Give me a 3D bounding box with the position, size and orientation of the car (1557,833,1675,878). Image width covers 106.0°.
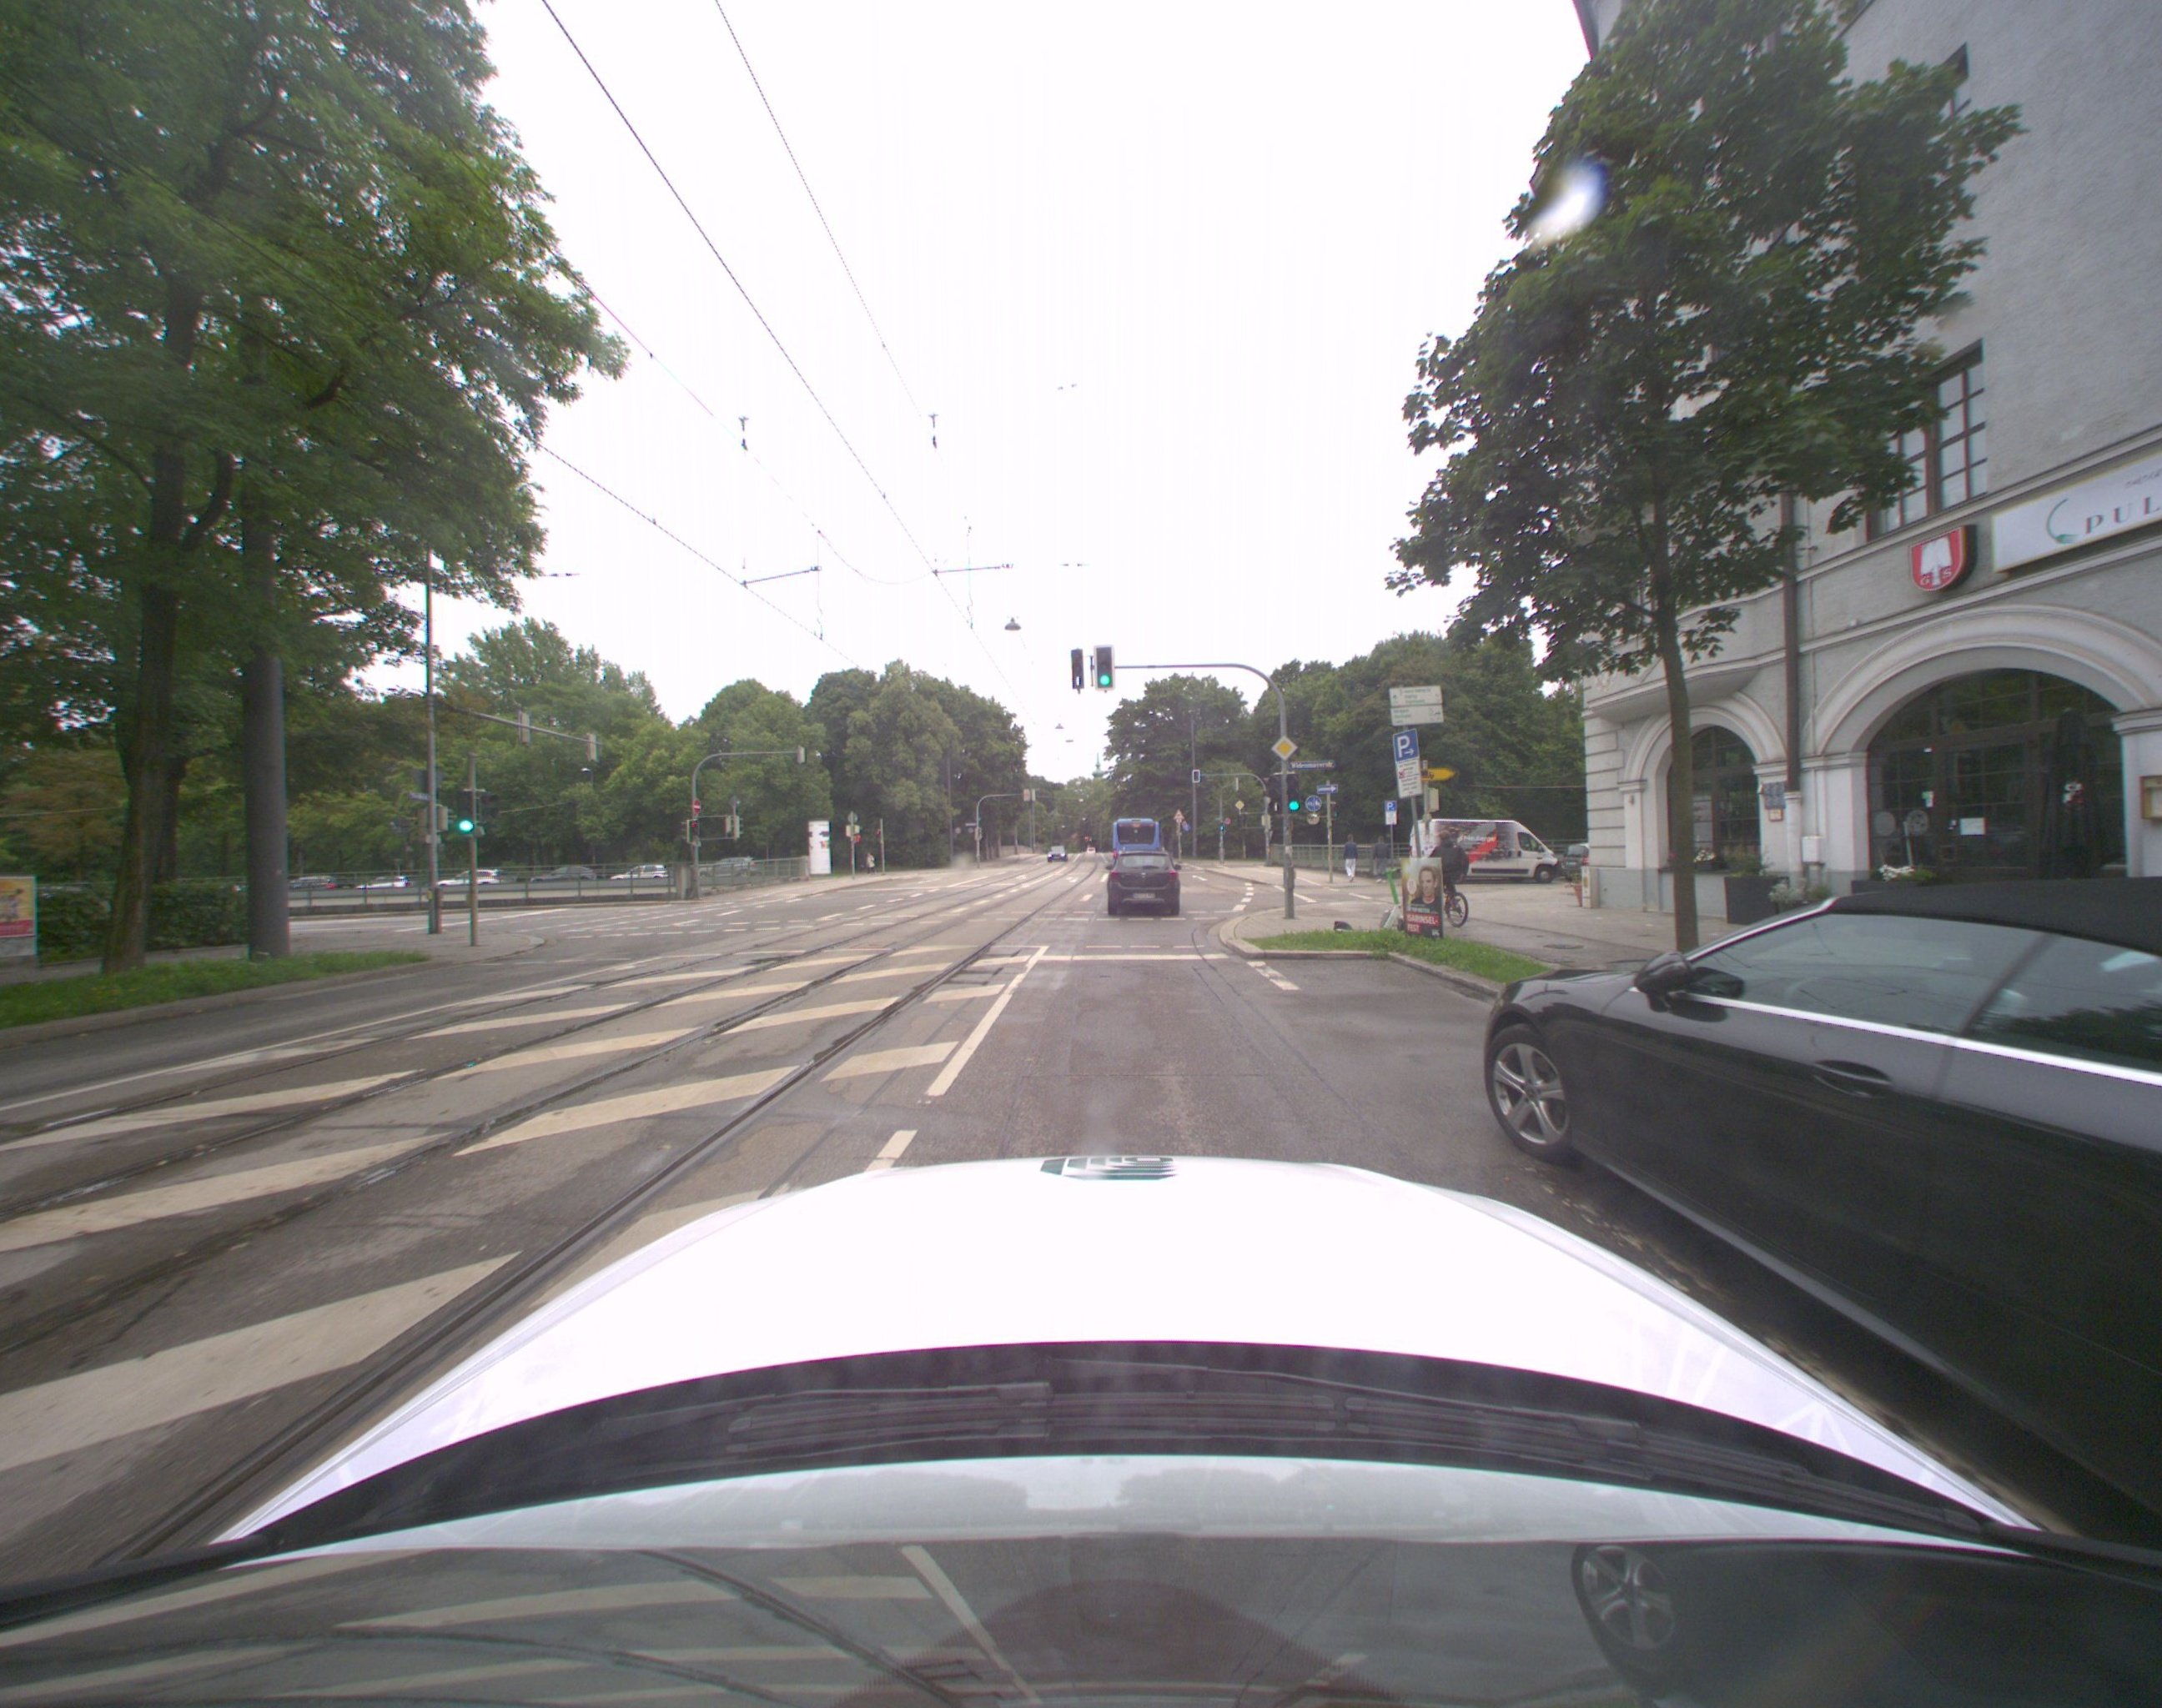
[{"bbox_3d":[20.742,0.072,31.681,3.426,1.682,1.841,0,0,0],"label":"car"}]

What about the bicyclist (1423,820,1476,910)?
[{"bbox_3d":[7.231,0.220,16.026,0.722,1.729,0.726,0,-1,1],"label":"bicyclist"}]

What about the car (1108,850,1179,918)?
[{"bbox_3d":[1.491,0.704,20.415,1.595,1.556,3.526,0,0,1],"label":"car"}]

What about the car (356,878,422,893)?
[{"bbox_3d":[-44.970,2.033,52.946,3.103,0.972,1.249,0,0,-4],"label":"car"}]

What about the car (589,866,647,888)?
[{"bbox_3d":[-30.504,1.510,53.701,3.103,1.452,1.249,0,0,-4],"label":"car"}]

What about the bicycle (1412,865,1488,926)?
[{"bbox_3d":[7.236,0.777,16.076,0.577,1.078,1.912,-4,0,1],"label":"bicycle"}]

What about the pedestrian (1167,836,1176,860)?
[{"bbox_3d":[8.077,-0.563,72.998,0.760,2.116,0.854,0,-1,1],"label":"pedestrian"}]

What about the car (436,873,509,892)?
[{"bbox_3d":[-39.844,1.856,53.339,3.720,1.185,1.249,0,0,-4],"label":"car"}]

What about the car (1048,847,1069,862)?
[{"bbox_3d":[-2.088,0.045,76.382,1.782,1.370,3.400,0,0,0],"label":"car"}]

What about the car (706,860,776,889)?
[{"bbox_3d":[-22.538,1.334,54.109,4.016,1.887,1.488,0,0,-5],"label":"car"}]

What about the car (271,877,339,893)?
[{"bbox_3d":[-49.961,1.975,52.460,3.103,0.972,1.249,0,0,-4],"label":"car"}]

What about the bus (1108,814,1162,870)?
[{"bbox_3d":[3.013,-0.629,47.025,2.670,2.997,6.959,0,0,0],"label":"bus"}]

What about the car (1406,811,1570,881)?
[{"bbox_3d":[15.662,-0.304,31.549,5.281,2.612,2.229,0,0,-2],"label":"car"}]

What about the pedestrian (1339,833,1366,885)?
[{"bbox_3d":[10.616,0.184,31.835,0.827,2.014,0.780,0,-1,1],"label":"pedestrian"}]

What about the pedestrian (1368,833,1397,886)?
[{"bbox_3d":[11.567,0.201,31.258,0.827,2.014,0.780,0,-1,1],"label":"pedestrian"}]

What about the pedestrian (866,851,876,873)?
[{"bbox_3d":[-14.878,0.555,57.627,0.529,1.501,0.589,0,-1,6],"label":"pedestrian"}]

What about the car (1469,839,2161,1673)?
[{"bbox_3d":[2.943,0.770,2.354,1.708,1.591,4.329,0,0,2],"label":"car"}]

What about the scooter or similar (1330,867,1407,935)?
[{"bbox_3d":[4.823,0.778,13.733,1.184,1.096,0.592,0,-1,15],"label":"scooter or similar"}]
